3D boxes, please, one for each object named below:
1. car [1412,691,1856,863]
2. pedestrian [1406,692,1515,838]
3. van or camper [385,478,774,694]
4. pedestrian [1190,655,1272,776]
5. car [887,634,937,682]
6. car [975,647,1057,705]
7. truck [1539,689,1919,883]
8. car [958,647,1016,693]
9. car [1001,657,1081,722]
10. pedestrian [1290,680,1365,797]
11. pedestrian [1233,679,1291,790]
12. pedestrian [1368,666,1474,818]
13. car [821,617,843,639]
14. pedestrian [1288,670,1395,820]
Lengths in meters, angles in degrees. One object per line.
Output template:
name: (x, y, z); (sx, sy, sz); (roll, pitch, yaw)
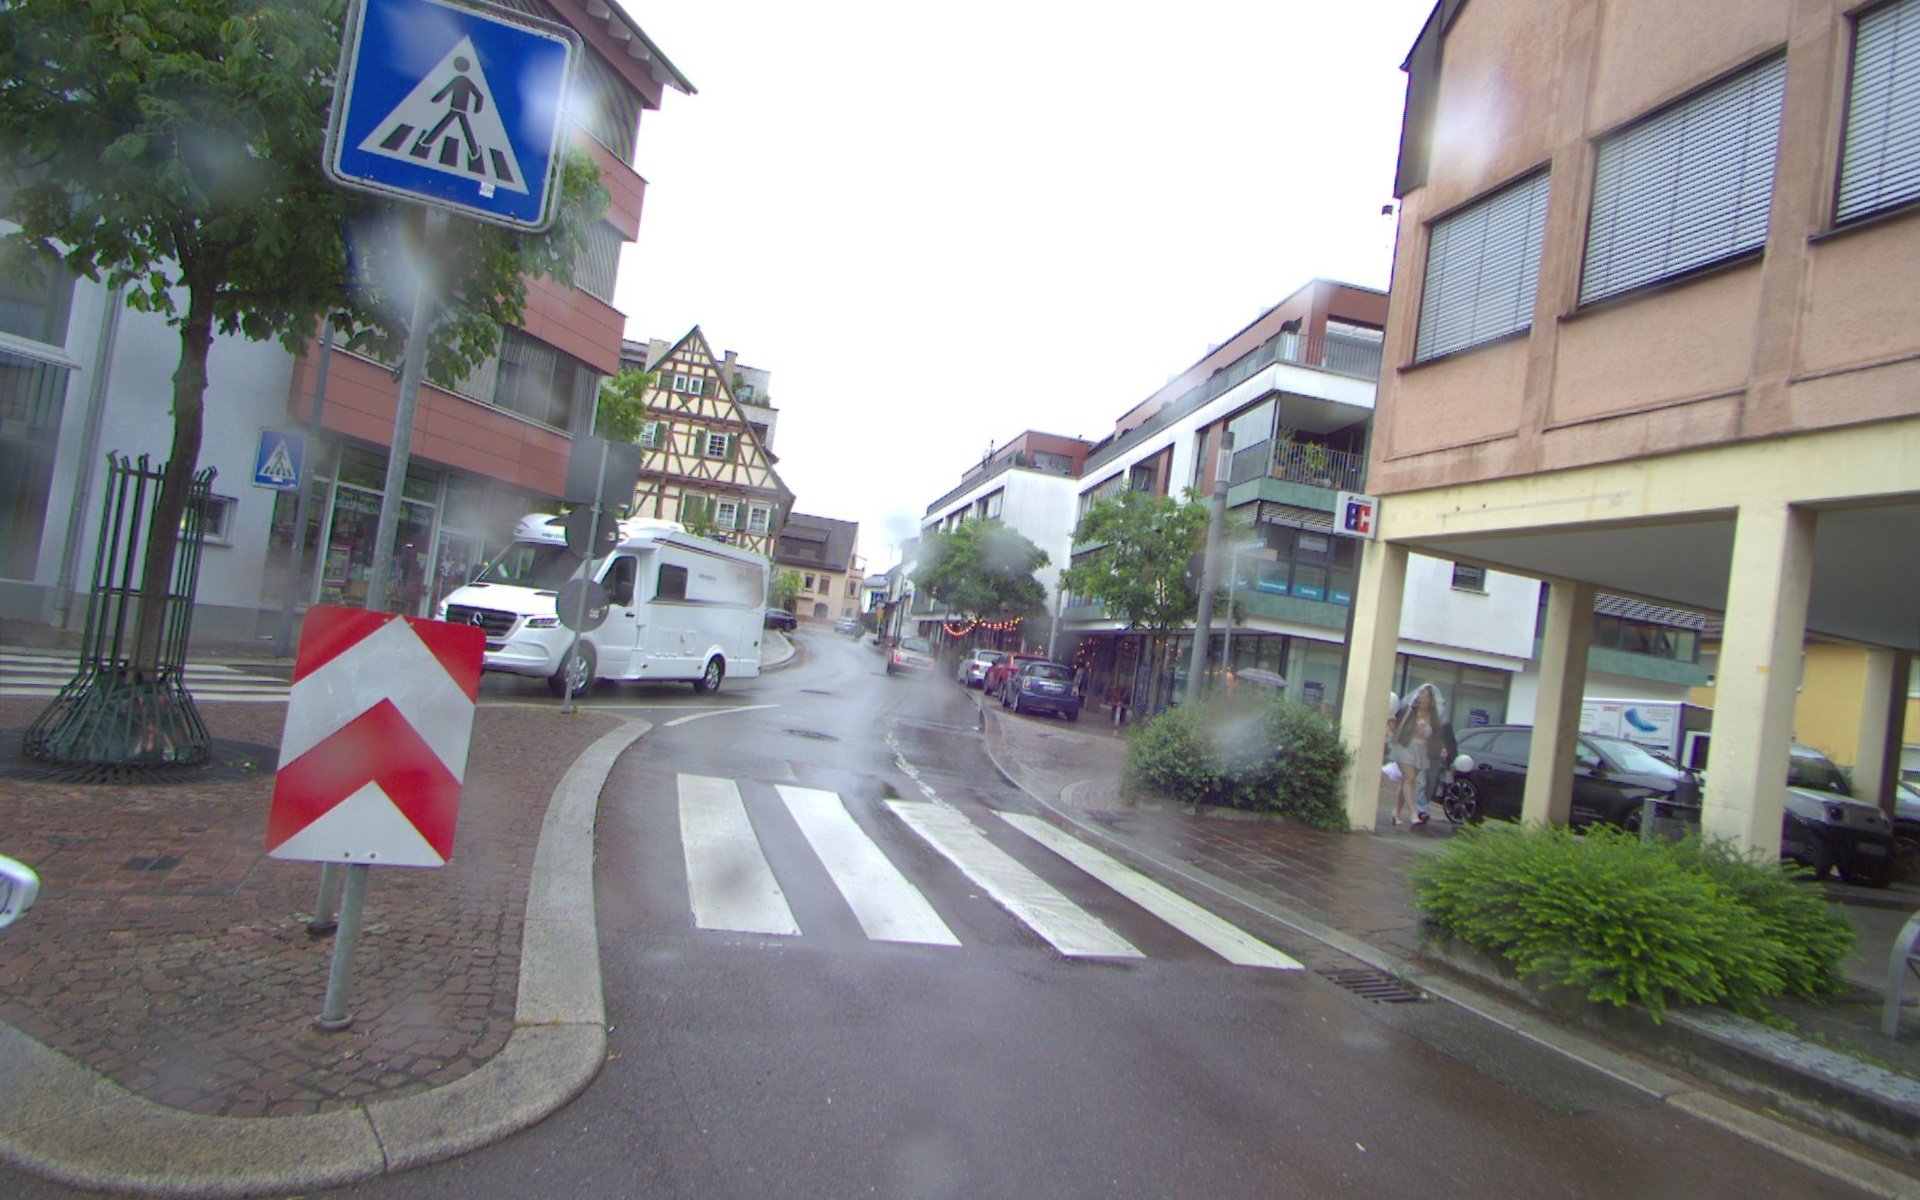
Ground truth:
car: (8.011, 2.042, 12.572); (1.742, 1.290, 4.460); (8, -3, -15)
pedestrian: (6.367, 2.072, 12.844); (0.949, 1.657, 0.735); (7, -2, 15)
van or camper: (-5.607, 0.066, 16.401); (2.399, 2.614, 6.763); (6, -3, 12)
pedestrian: (4.322, 1.829, 16.105); (0.725, 1.768, 0.890); (8, -2, -16)
car: (-1.798, 2.097, 37.015); (1.500, 1.487, 3.340); (8, -2, -6)
car: (1.731, 2.412, 32.555); (1.602, 1.518, 3.994); (6, -2, -11)
truck: (10.316, 2.379, 13.681); (1.742, 1.828, 3.989); (8, -3, -17)
car: (0.971, 2.609, 38.156); (1.592, 1.430, 3.998); (5, -2, -6)
car: (2.148, 2.402, 27.517); (1.515, 1.377, 3.374); (9, -3, -4)
pedestrian: (5.840, 2.184, 16.019); (0.626, 1.708, 0.741); (8, -2, -15)
pedestrian: (4.880, 2.161, 16.287); (0.533, 1.682, 0.520); (8, -2, -13)
pedestrian: (5.625, 1.718, 12.295); (0.716, 1.708, 0.729); (8, -2, -23)
car: (-11.613, 2.512, 91.284); (1.652, 1.731, 3.319); (8, -3, -8)
pedestrian: (4.673, 1.764, 12.360); (0.689, 1.680, 0.817); (8, -2, -22)
